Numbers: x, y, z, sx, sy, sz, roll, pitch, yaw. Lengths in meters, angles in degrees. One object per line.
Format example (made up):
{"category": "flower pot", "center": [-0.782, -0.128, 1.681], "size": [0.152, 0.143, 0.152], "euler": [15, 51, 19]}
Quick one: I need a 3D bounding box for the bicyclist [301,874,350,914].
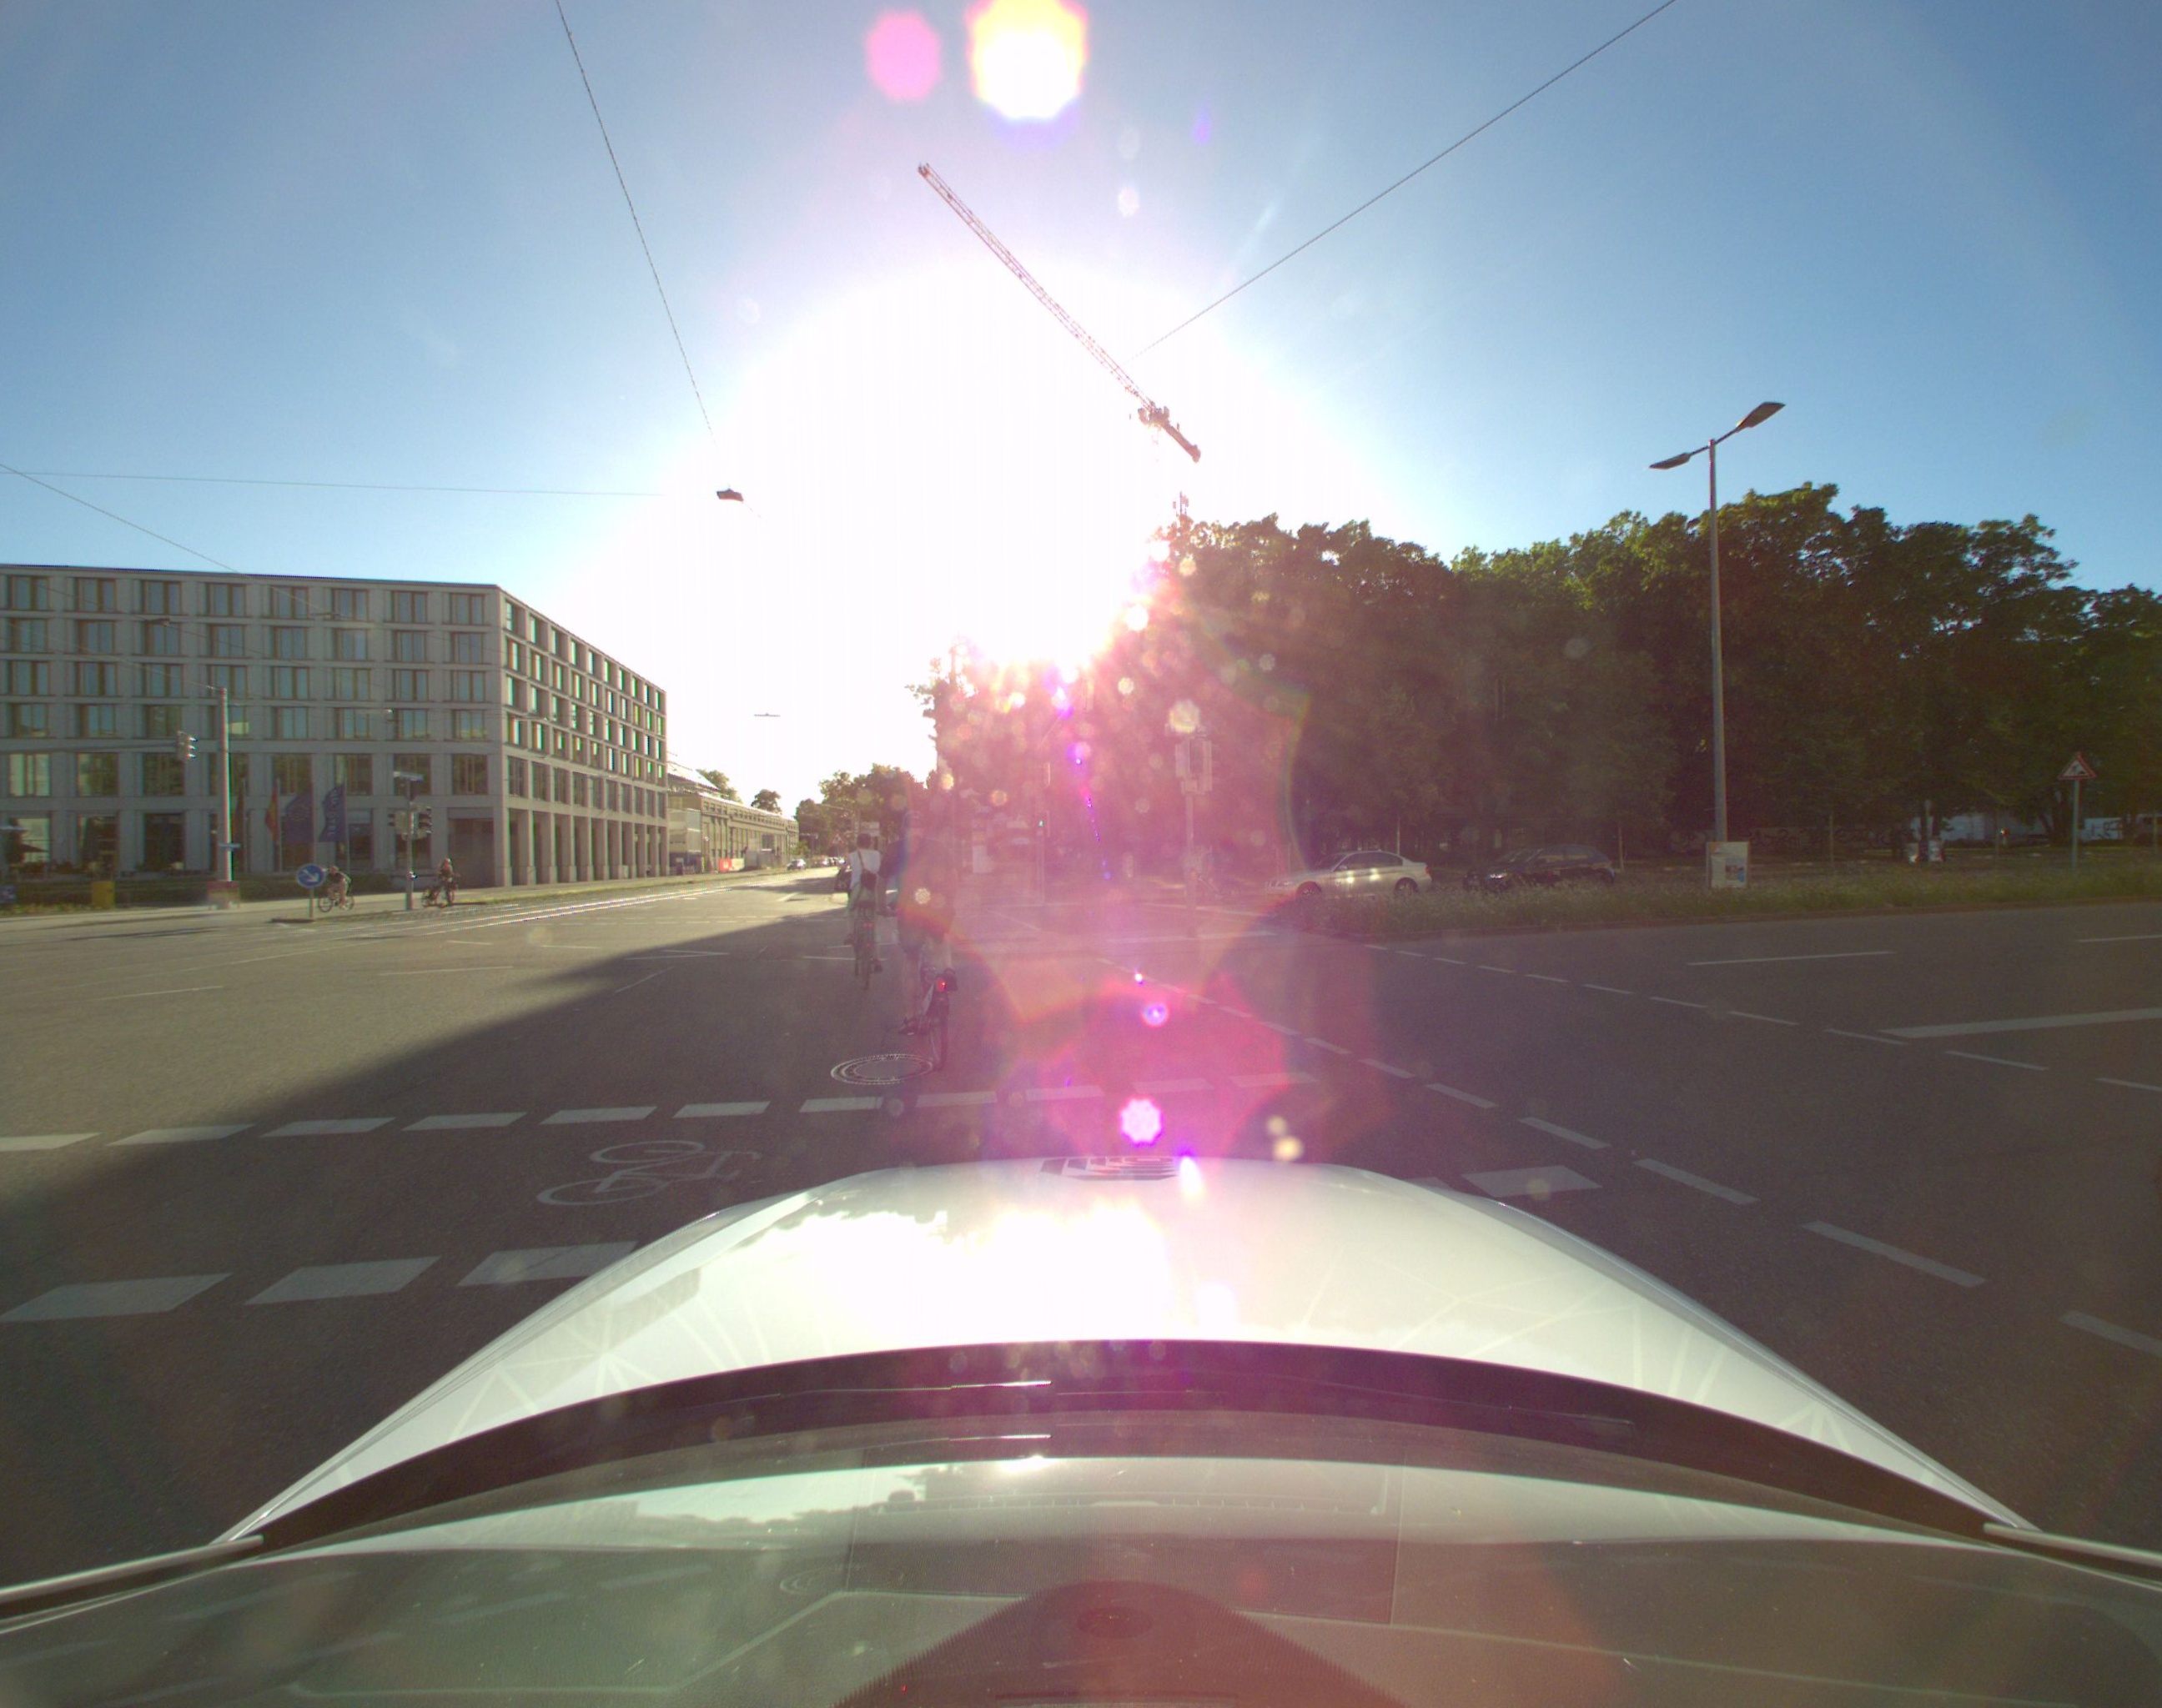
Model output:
{"category": "bicyclist", "center": [-27.390, 1.435, 29.539], "size": [0.819, 1.362, 0.975], "euler": [-2, 0, 7]}

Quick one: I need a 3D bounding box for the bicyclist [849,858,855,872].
{"category": "bicyclist", "center": [-29.063, 1.393, 103.335], "size": [0.664, 1.853, 0.781], "euler": [-2, 0, -10]}

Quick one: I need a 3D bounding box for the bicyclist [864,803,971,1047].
{"category": "bicyclist", "center": [-1.245, 0.511, 6.295], "size": [0.752, 1.743, 0.836], "euler": [0, -1, -10]}

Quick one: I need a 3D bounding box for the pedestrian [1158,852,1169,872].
{"category": "pedestrian", "center": [5.441, 0.527, 53.733], "size": [0.597, 1.340, 0.732], "euler": [-2, 0, -7]}

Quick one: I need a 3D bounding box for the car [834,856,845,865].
{"category": "car", "center": [-51.837, 1.316, 174.694], "size": [1.995, 1.882, 3.983], "euler": [-2, 0, -12]}

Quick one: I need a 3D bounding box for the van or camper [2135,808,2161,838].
{"category": "van or camper", "center": [77.067, -2.237, 55.754], "size": [2.249, 2.014, 5.665], "euler": [0, -1, -8]}

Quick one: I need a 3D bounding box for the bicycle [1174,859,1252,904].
{"category": "bicycle", "center": [3.911, 0.816, 24.276], "size": [2.231, 1.240, 0.779], "euler": [-2, -1, 4]}

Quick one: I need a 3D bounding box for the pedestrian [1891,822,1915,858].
{"category": "pedestrian", "center": [40.670, -0.698, 40.300], "size": [0.652, 1.740, 0.524], "euler": [-2, 0, -6]}

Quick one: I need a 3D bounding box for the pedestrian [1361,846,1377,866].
{"category": "pedestrian", "center": [20.075, 0.161, 56.754], "size": [0.662, 1.340, 0.906], "euler": [-2, 0, -7]}

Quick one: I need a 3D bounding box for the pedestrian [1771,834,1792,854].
{"category": "pedestrian", "center": [54.392, -0.763, 63.232], "size": [0.894, 1.540, 0.900], "euler": [-2, 0, -17]}

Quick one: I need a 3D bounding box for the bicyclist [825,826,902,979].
{"category": "bicyclist", "center": [-2.509, 0.537, 9.497], "size": [0.773, 1.690, 0.922], "euler": [0, 0, -10]}

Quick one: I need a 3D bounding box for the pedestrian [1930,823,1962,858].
{"category": "pedestrian", "center": [41.279, -0.636, 38.865], "size": [0.723, 1.641, 0.743], "euler": [-2, 0, -6]}

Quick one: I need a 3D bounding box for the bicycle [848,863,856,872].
{"category": "bicycle", "center": [-29.035, 1.696, 103.227], "size": [0.661, 1.156, 1.803], "euler": [-2, 0, -10]}

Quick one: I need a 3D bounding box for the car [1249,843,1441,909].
{"category": "car", "center": [7.088, 0.562, 22.090], "size": [4.534, 1.560, 1.993], "euler": [-2, 0, -10]}

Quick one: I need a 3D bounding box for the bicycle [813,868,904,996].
{"category": "bicycle", "center": [-2.490, 0.803, 9.371], "size": [0.775, 1.240, 2.305], "euler": [0, 0, -10]}

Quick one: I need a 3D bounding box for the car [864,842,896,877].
{"category": "car", "center": [-18.250, 0.488, 74.105], "size": [2.594, 2.952, 5.067], "euler": [-2, 0, -12]}

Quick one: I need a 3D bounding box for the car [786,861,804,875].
{"category": "car", "center": [-43.978, 2.117, 125.227], "size": [1.995, 1.969, 3.983], "euler": [-2, 0, -12]}

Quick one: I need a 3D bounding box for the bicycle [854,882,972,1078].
{"category": "bicycle", "center": [-1.289, 0.873, 6.471], "size": [0.775, 1.240, 2.014], "euler": [0, 0, -10]}

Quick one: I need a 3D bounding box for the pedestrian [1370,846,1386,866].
{"category": "pedestrian", "center": [20.739, 0.134, 56.863], "size": [0.713, 1.340, 0.827], "euler": [-2, 0, -7]}

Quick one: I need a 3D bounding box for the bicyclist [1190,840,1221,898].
{"category": "bicyclist", "center": [3.700, 0.448, 24.295], "size": [0.832, 1.679, 0.785], "euler": [-2, -1, 4]}

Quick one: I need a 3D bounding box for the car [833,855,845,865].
{"category": "car", "center": [-50.412, 1.234, 169.537], "size": [1.995, 1.882, 3.983], "euler": [-2, 0, -12]}

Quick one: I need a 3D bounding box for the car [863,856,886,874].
{"category": "car", "center": [-17.178, 0.888, 67.875], "size": [1.699, 1.428, 3.983], "euler": [-2, 0, -12]}

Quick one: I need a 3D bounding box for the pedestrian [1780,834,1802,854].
{"category": "pedestrian", "center": [55.331, -0.761, 63.478], "size": [0.894, 1.540, 0.900], "euler": [-2, 0, -17]}

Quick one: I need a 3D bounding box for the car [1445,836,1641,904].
{"category": "car", "center": [12.873, 0.417, 22.812], "size": [4.534, 1.675, 1.993], "euler": [-2, 0, -10]}

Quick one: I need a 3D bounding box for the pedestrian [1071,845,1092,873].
{"category": "pedestrian", "center": [0.012, 0.320, 52.503], "size": [1.205, 1.740, 0.896], "euler": [-2, 0, 5]}

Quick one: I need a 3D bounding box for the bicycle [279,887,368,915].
{"category": "bicycle", "center": [-27.389, 1.671, 29.501], "size": [0.836, 0.851, 2.341], "euler": [-2, 0, 8]}

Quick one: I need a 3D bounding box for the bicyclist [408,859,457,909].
{"category": "bicyclist", "center": [-21.768, 0.988, 27.344], "size": [0.961, 1.619, 0.856], "euler": [-2, 0, 19]}

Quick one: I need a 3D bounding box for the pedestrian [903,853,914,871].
{"category": "pedestrian", "center": [-17.506, 0.795, 82.535], "size": [0.786, 1.740, 0.886], "euler": [-2, 0, -29]}

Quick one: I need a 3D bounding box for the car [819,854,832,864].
{"category": "car", "center": [-46.926, 0.943, 149.594], "size": [1.995, 1.882, 3.983], "euler": [-2, 0, -12]}

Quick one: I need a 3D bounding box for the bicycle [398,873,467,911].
{"category": "bicycle", "center": [-21.798, 1.278, 27.358], "size": [1.991, 1.231, 0.850], "euler": [-2, 0, 19]}

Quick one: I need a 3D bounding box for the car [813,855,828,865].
{"category": "car", "center": [-44.945, 1.040, 140.638], "size": [1.995, 1.640, 3.983], "euler": [-2, 0, -12]}

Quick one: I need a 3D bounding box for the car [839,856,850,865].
{"category": "car", "center": [-52.821, 1.418, 181.711], "size": [1.995, 1.882, 3.983], "euler": [-2, 0, -12]}

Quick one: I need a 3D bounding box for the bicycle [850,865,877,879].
{"category": "bicycle", "center": [-13.994, 1.157, 52.376], "size": [1.605, 0.889, 0.765], "euler": [-2, 0, -19]}

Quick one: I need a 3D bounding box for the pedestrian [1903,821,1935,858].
{"category": "pedestrian", "center": [40.729, -0.693, 39.585], "size": [0.757, 1.740, 0.772], "euler": [-2, 0, -6]}
